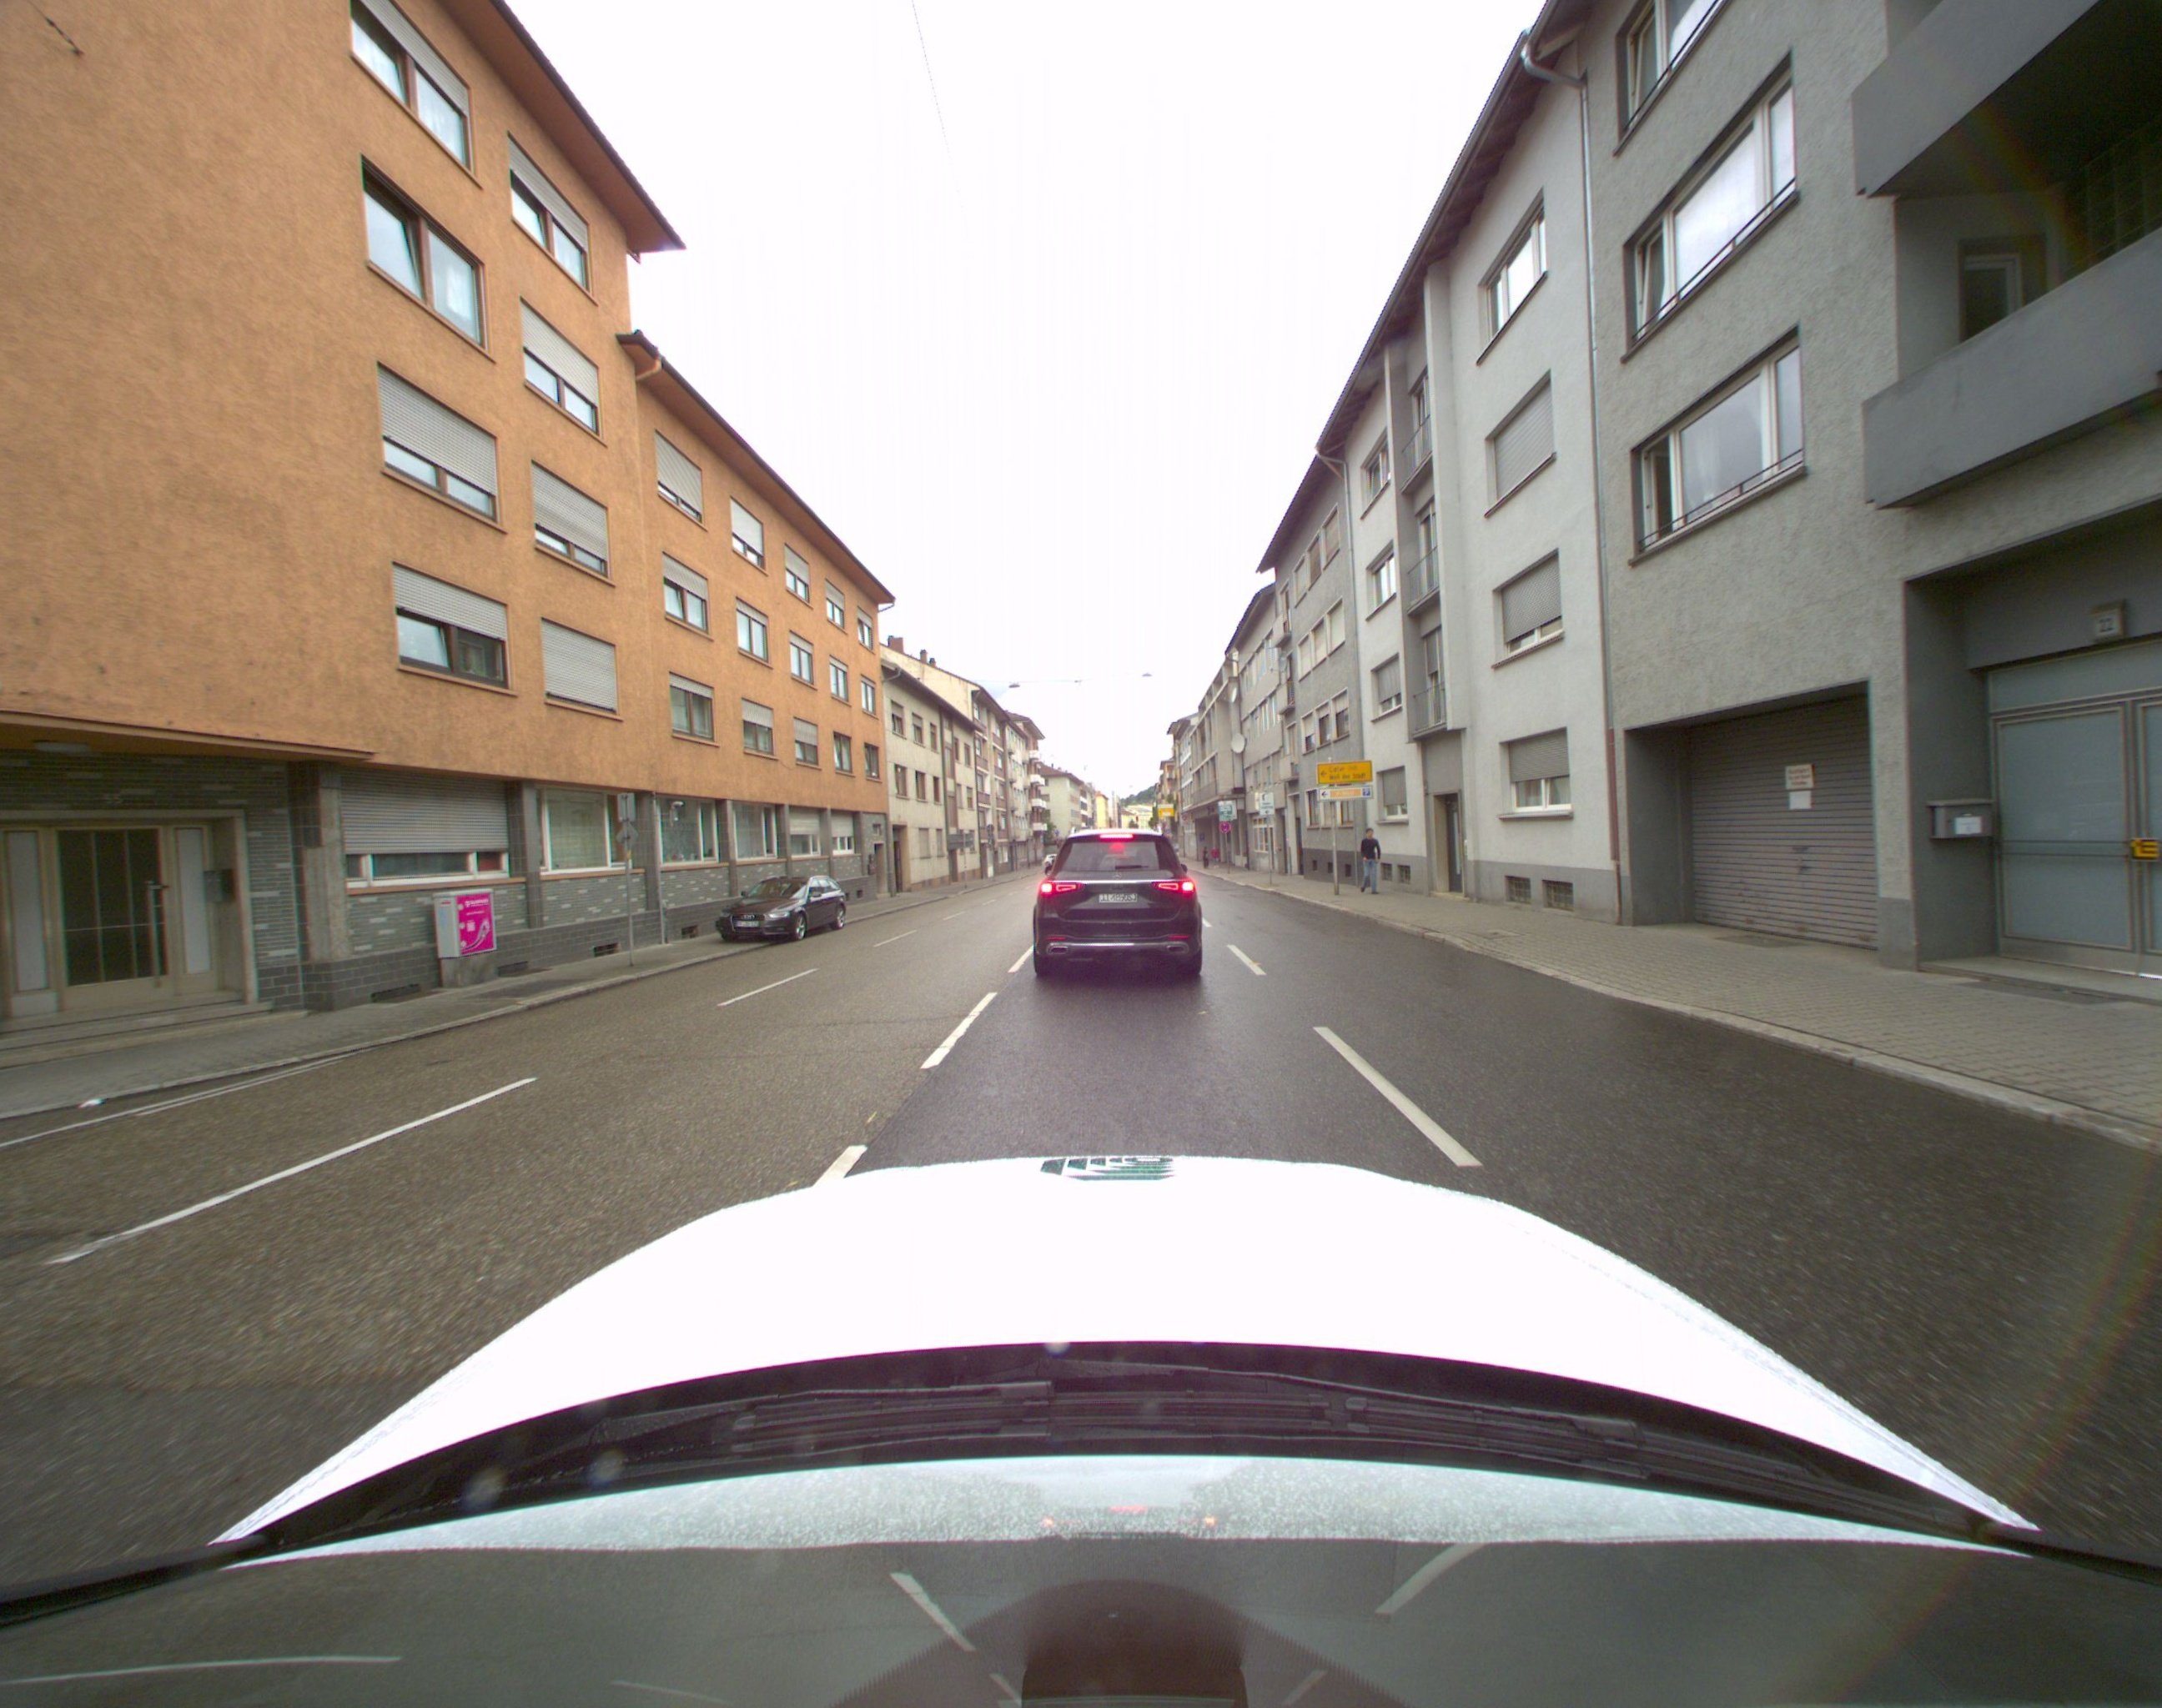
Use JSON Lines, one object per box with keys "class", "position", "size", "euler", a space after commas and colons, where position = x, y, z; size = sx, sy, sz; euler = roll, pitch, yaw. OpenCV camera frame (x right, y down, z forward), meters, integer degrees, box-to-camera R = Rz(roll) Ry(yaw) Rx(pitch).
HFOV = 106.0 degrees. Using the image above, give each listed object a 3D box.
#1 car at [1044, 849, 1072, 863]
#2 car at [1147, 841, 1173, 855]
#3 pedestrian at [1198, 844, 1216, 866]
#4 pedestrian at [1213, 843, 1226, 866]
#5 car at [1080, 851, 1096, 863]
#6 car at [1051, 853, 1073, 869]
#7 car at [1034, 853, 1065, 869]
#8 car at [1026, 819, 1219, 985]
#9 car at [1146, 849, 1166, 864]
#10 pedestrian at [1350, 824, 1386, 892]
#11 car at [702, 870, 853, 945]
{"class": "car", "position": [-3.469, 0.275, 122.593], "size": [3.967, 2.013, 2.003], "euler": [-2, 1, 5]}
{"class": "car", "position": [12.688, -0.948, 130.546], "size": [3.967, 2.013, 2.003], "euler": [-2, 1, 5]}
{"class": "pedestrian", "position": [8.836, 0.067, 56.967], "size": [0.825, 1.565, 0.891], "euler": [-2, 0, -28]}
{"class": "pedestrian", "position": [9.649, 0.007, 56.791], "size": [0.817, 1.565, 0.901], "euler": [-2, 0, 5]}
{"class": "car", "position": [0.919, 0.338, 102.615], "size": [1.884, 1.458, 4.551], "euler": [-2, 1, 2]}
{"class": "car", "position": [-1.826, 0.667, 79.782], "size": [1.884, 1.458, 4.550], "euler": [-2, 1, 1]}
{"class": "car", "position": [-4.504, 0.988, 116.015], "size": [3.958, 2.013, 2.008], "euler": [-1, 1, 14]}
{"class": "car", "position": [0.523, 0.493, 11.258], "size": [2.068, 1.765, 4.613], "euler": [-2, 1, 2]}
{"class": "car", "position": [7.674, 0.263, 83.937], "size": [1.728, 1.388, 4.585], "euler": [-2, 1, 2]}
{"class": "pedestrian", "position": [7.766, 0.107, 22.057], "size": [0.652, 1.752, 0.743], "euler": [-5, 0, 7]}
{"class": "car", "position": [-7.290, 1.216, 20.121], "size": [1.884, 1.458, 4.550], "euler": [-2, 1, 1]}
